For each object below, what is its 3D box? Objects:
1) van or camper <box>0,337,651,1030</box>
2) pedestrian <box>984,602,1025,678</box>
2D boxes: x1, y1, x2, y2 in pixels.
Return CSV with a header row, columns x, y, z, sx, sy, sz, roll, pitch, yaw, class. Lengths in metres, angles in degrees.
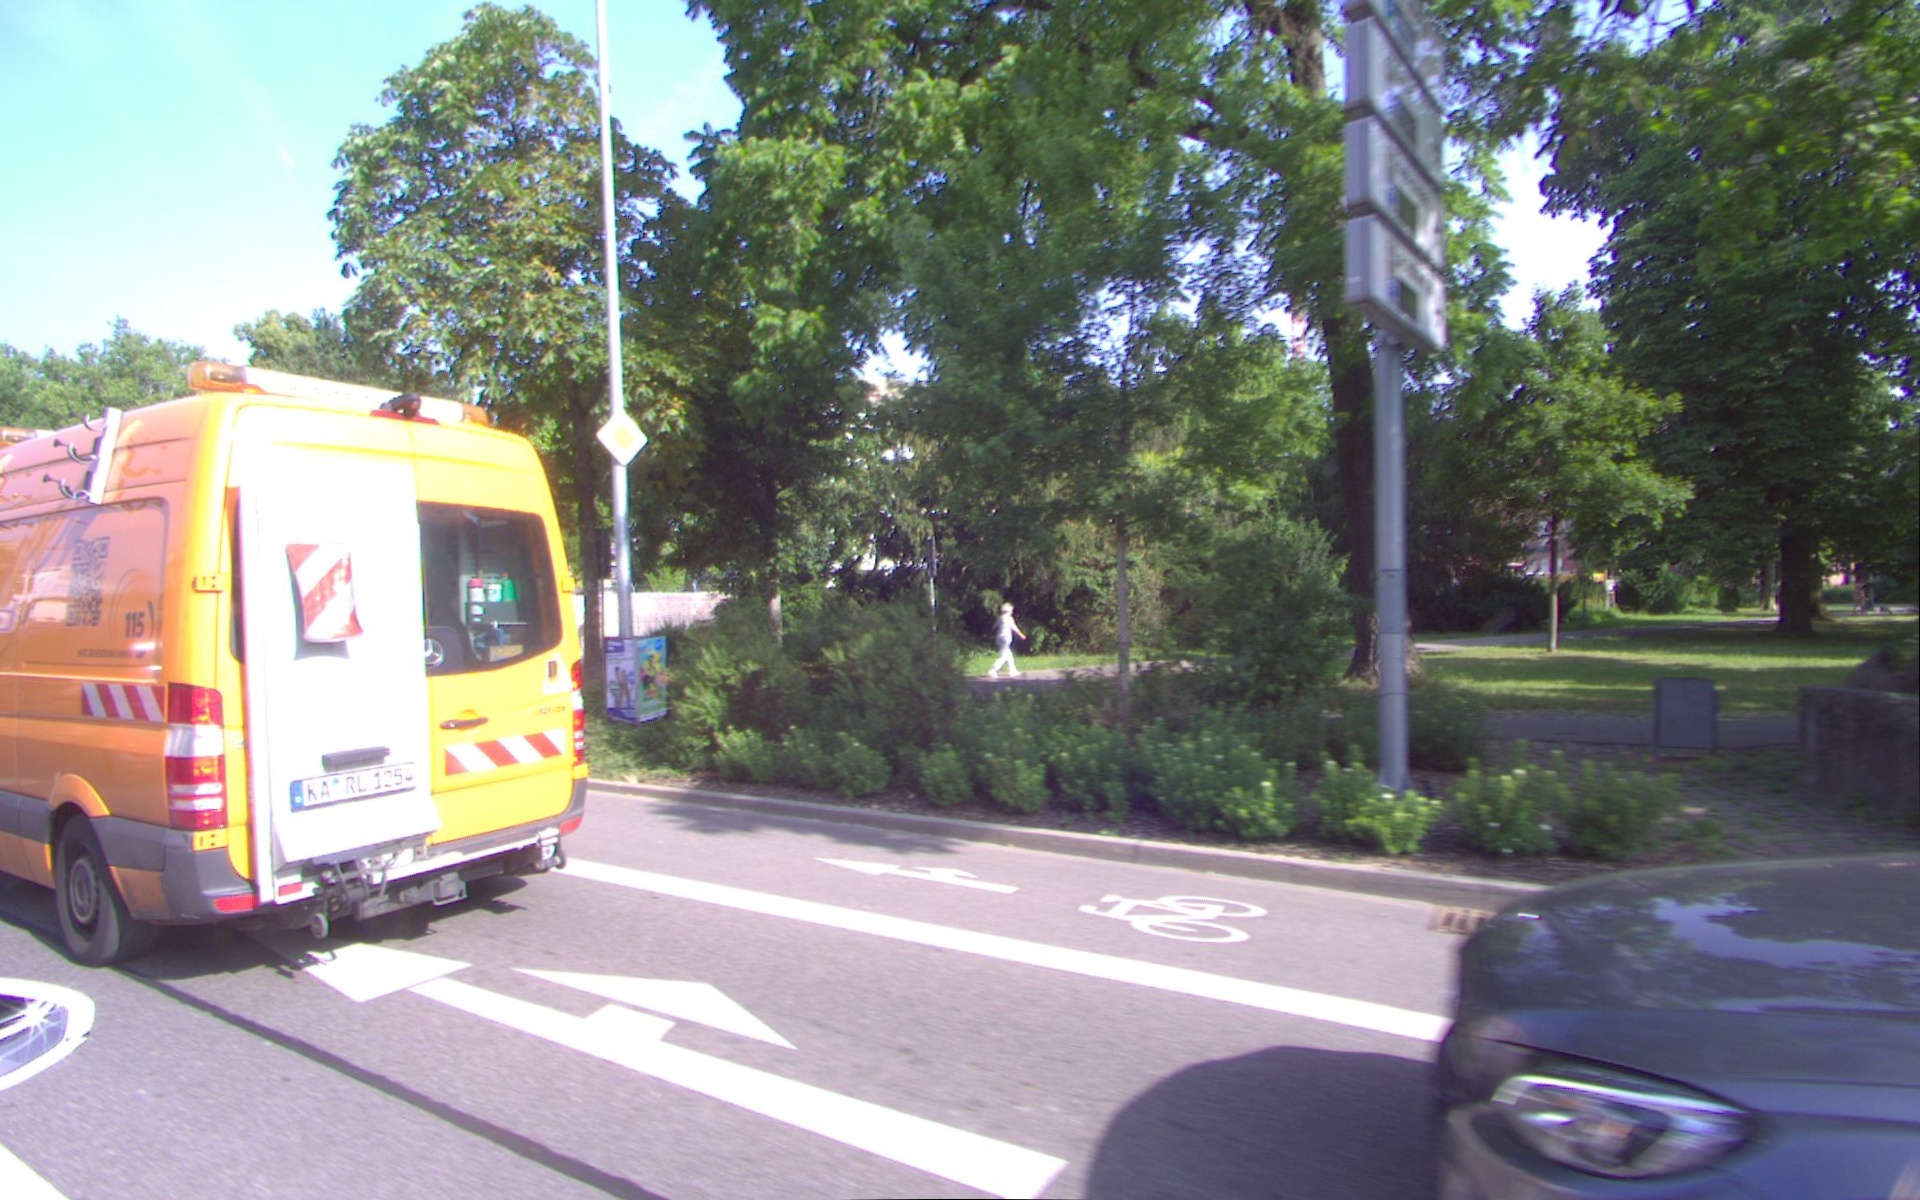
x,y,z,sx,sy,sz,roll,pitch,yaw,class
-4.685,0.404,6.071,5.976,2.503,1.982,-2,-2,32,van or camper
0.929,0.818,20.855,0.659,1.538,0.532,-1,1,-26,pedestrian
